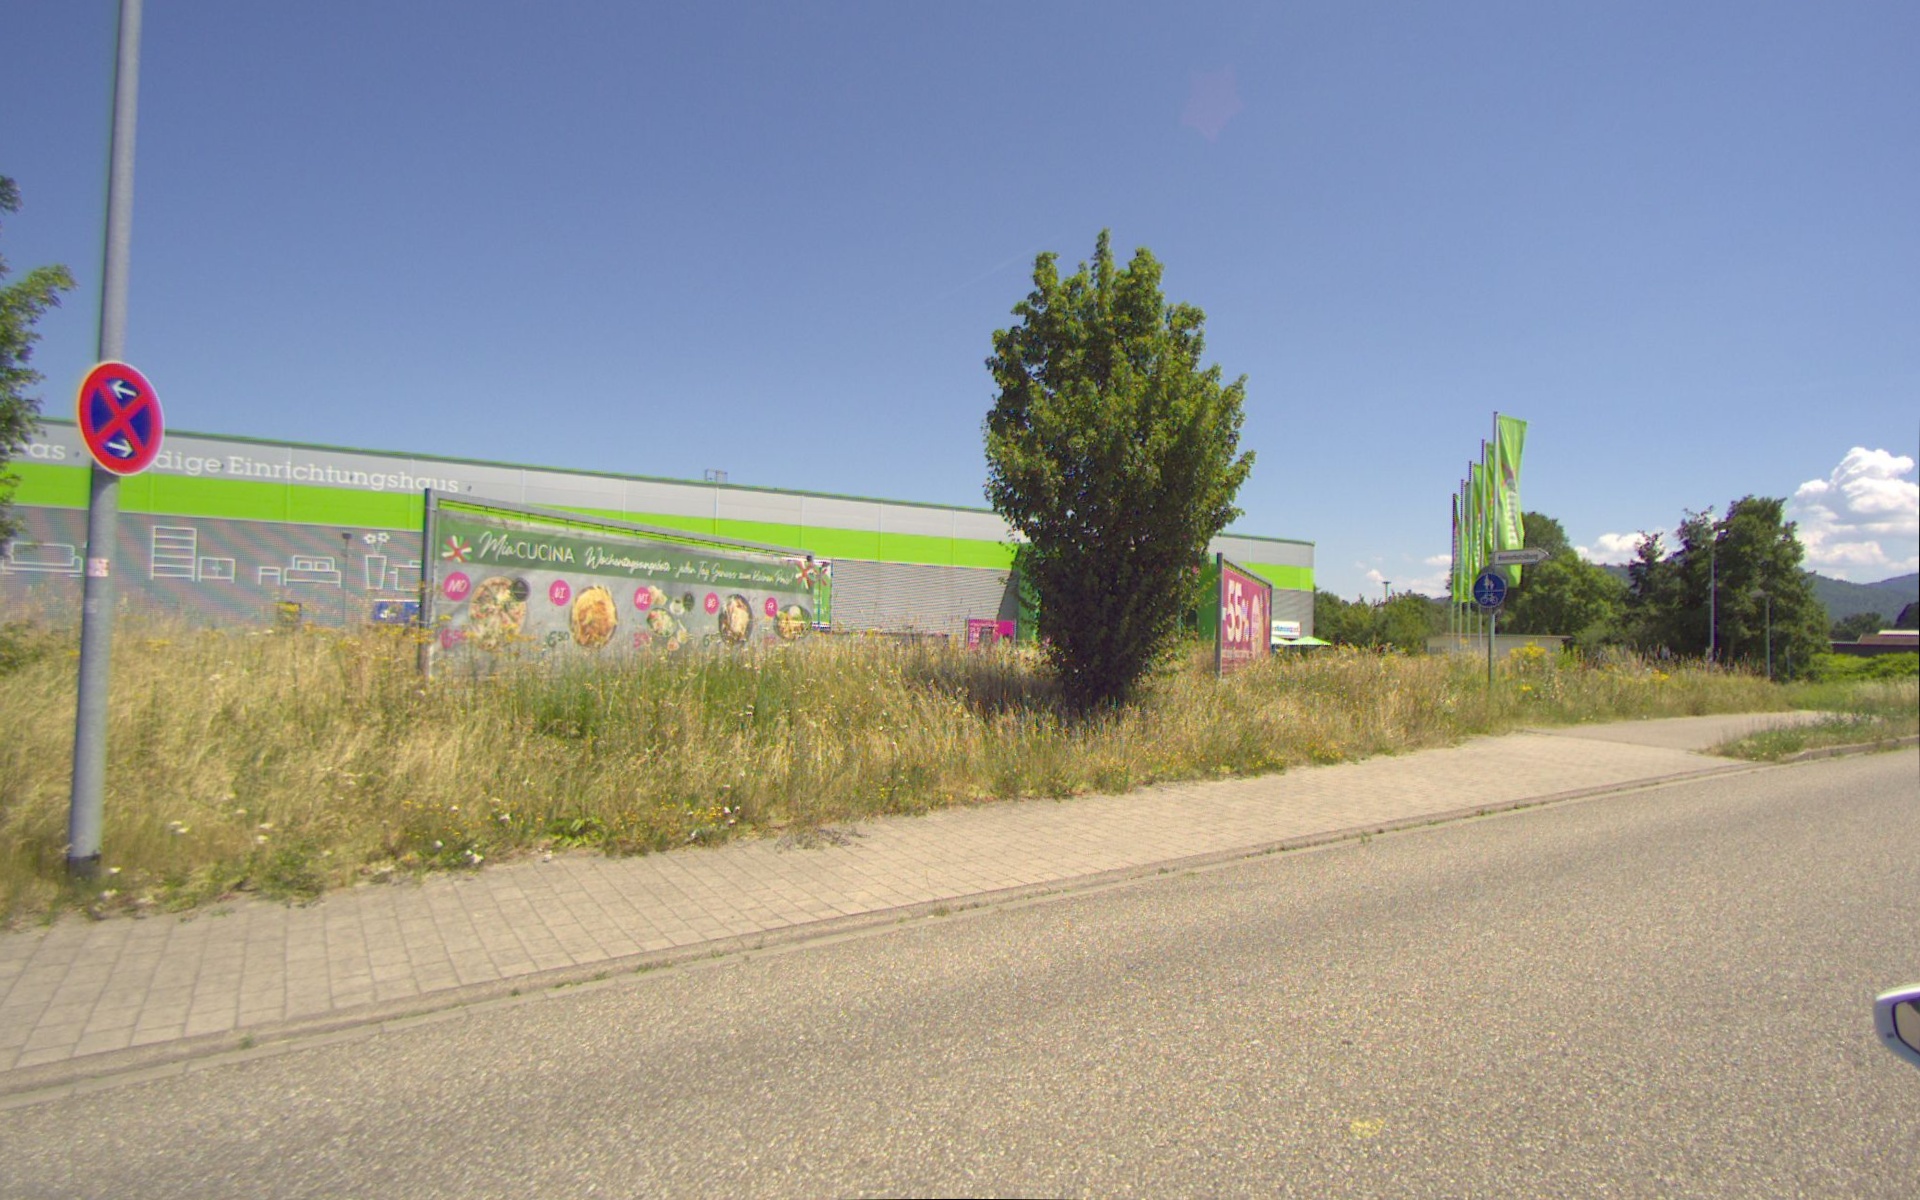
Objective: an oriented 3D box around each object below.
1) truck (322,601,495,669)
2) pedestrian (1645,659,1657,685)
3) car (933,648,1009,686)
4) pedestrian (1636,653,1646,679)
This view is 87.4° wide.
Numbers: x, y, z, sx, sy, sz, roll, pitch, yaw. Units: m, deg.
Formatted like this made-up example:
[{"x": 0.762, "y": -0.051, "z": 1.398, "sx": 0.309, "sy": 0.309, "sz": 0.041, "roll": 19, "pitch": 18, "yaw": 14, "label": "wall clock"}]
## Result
[{"x": -24.018, "y": 1.429, "z": 44.353, "sx": 2.902, "sy": 2.720, "sz": 7.780, "roll": 0, "pitch": 0, "yaw": 5, "label": "truck"}, {"x": 46.365, "y": 4.802, "z": 67.403, "sx": 0.618, "sy": 1.696, "sz": 0.596, "roll": 3, "pitch": 0, "yaw": 36, "label": "pedestrian"}, {"x": 0.497, "y": 3.214, "z": 49.012, "sx": 1.976, "sy": 1.533, "sz": 3.968, "roll": 1, "pitch": 0, "yaw": -30, "label": "car"}, {"x": 45.537, "y": 4.398, "z": 67.143, "sx": 0.506, "sy": 1.696, "sz": 0.627, "roll": 3, "pitch": 0, "yaw": 35, "label": "pedestrian"}]
